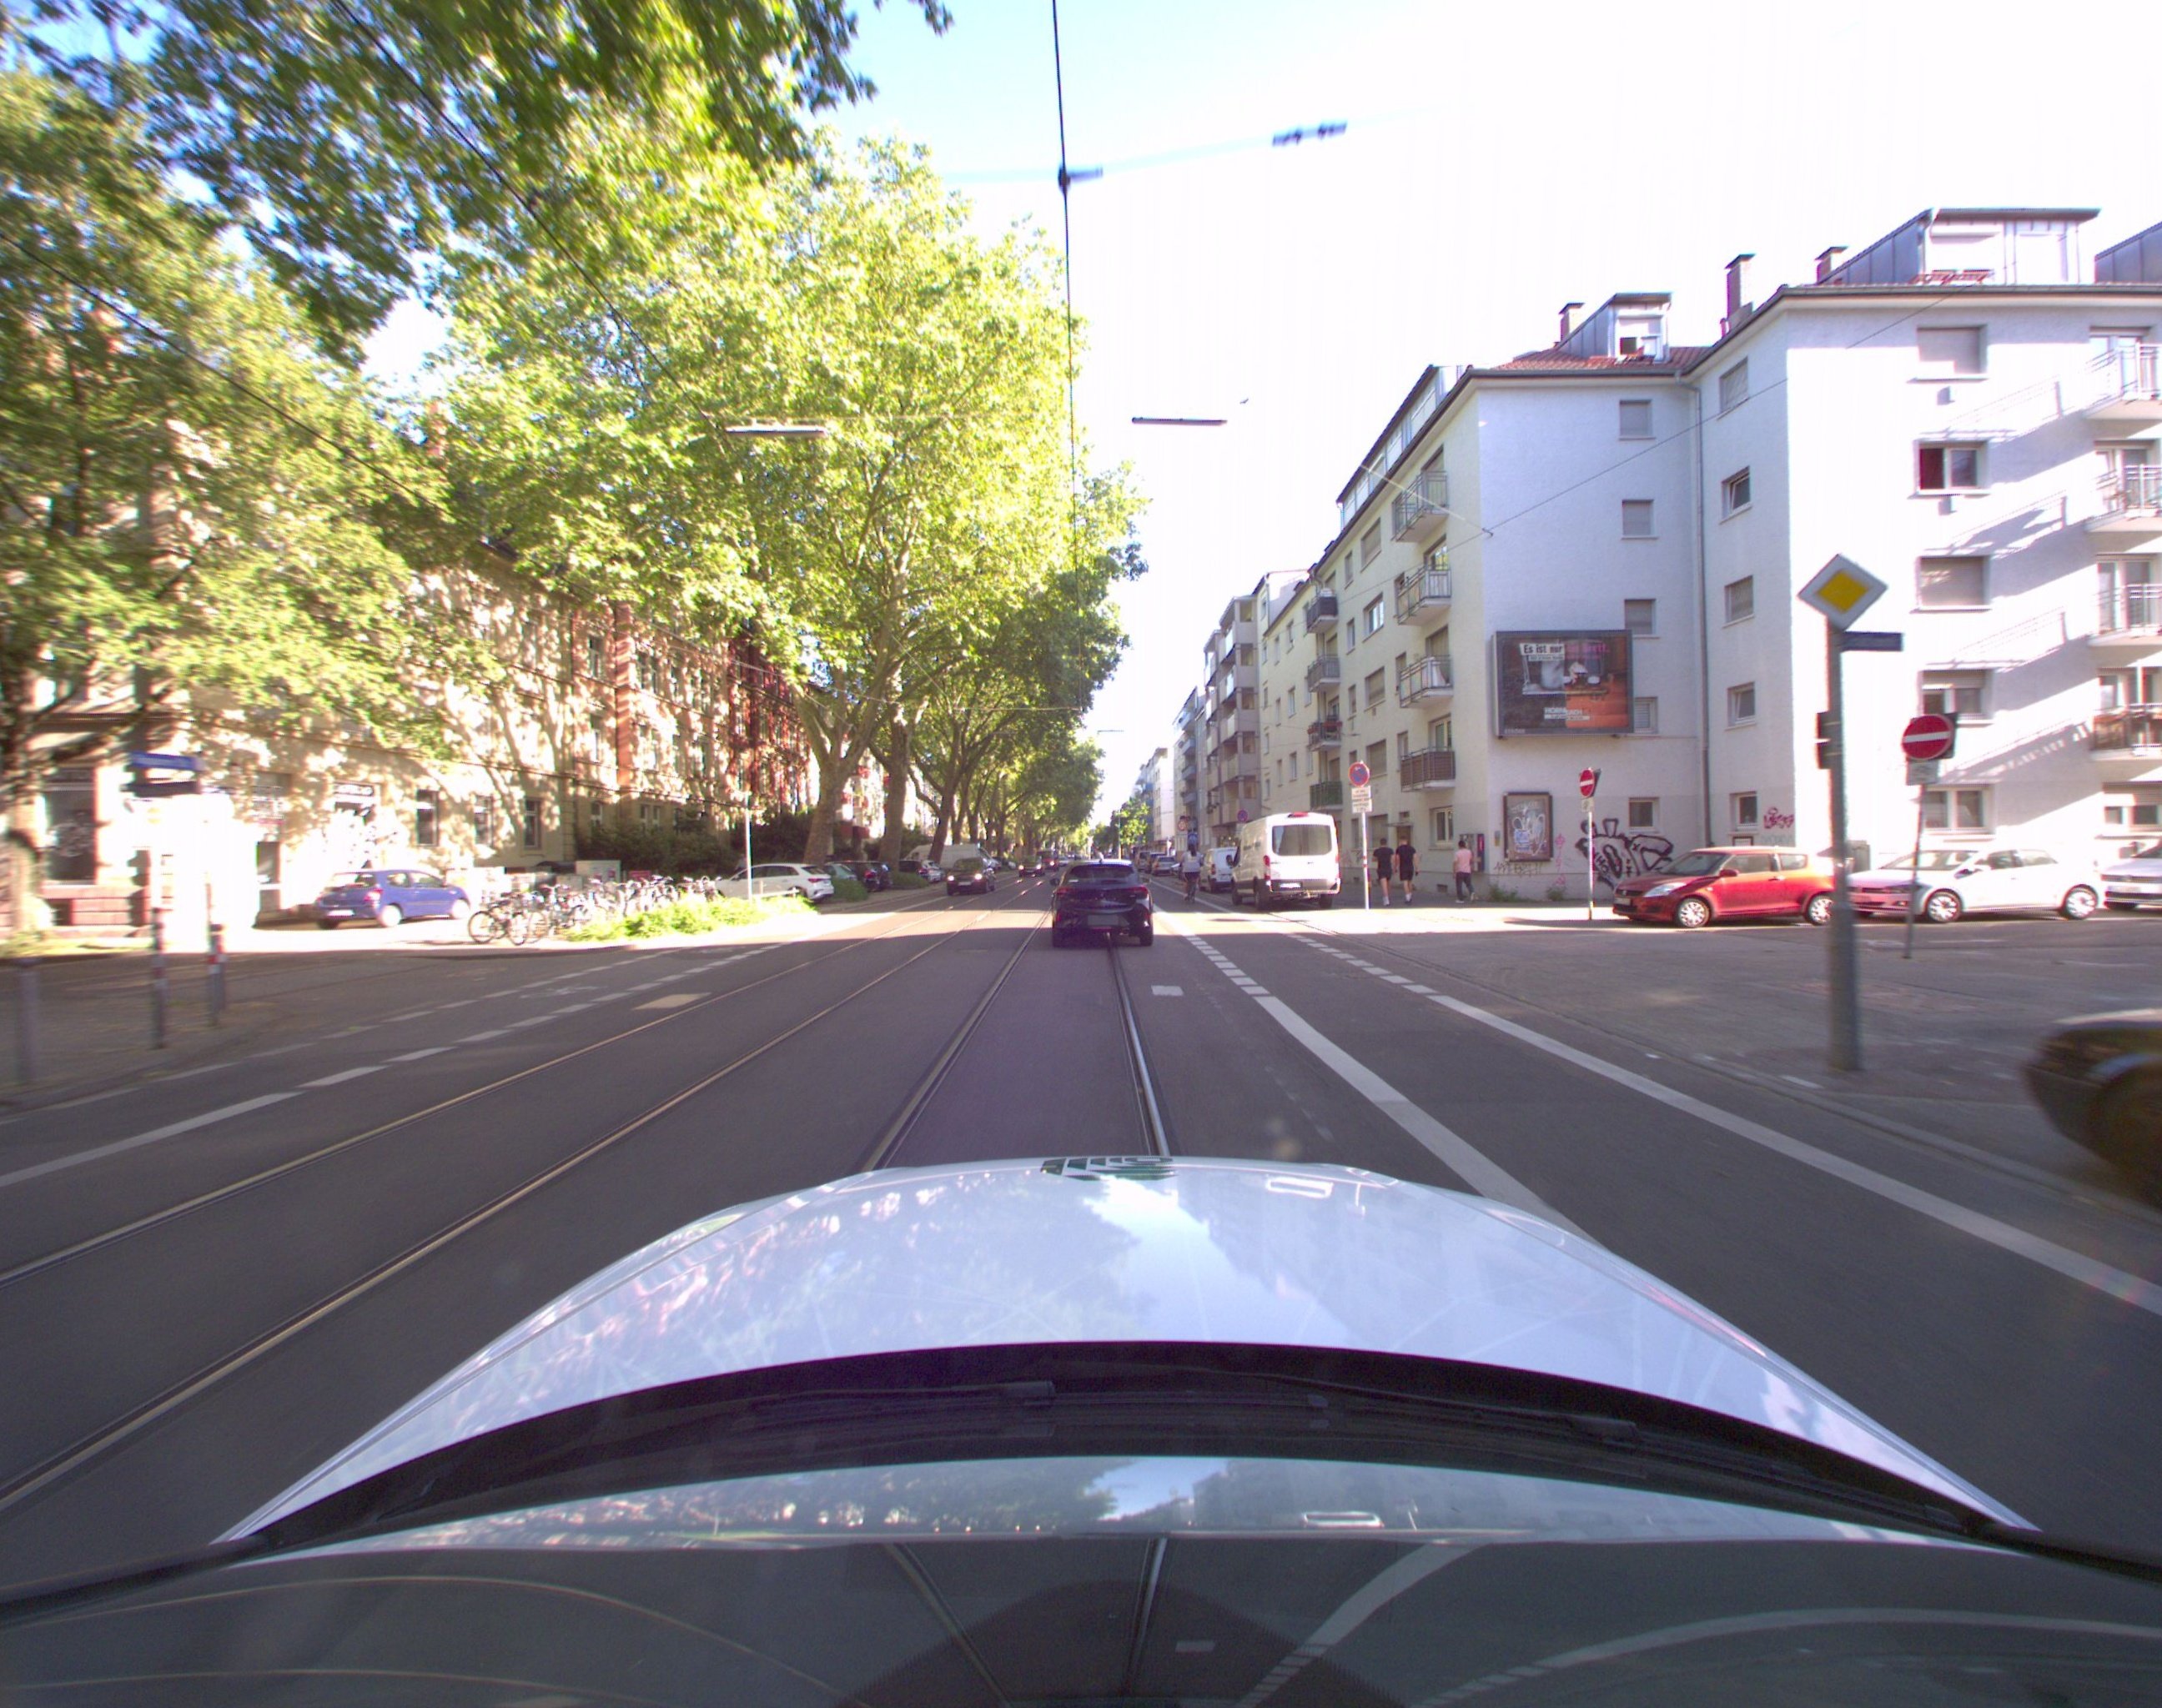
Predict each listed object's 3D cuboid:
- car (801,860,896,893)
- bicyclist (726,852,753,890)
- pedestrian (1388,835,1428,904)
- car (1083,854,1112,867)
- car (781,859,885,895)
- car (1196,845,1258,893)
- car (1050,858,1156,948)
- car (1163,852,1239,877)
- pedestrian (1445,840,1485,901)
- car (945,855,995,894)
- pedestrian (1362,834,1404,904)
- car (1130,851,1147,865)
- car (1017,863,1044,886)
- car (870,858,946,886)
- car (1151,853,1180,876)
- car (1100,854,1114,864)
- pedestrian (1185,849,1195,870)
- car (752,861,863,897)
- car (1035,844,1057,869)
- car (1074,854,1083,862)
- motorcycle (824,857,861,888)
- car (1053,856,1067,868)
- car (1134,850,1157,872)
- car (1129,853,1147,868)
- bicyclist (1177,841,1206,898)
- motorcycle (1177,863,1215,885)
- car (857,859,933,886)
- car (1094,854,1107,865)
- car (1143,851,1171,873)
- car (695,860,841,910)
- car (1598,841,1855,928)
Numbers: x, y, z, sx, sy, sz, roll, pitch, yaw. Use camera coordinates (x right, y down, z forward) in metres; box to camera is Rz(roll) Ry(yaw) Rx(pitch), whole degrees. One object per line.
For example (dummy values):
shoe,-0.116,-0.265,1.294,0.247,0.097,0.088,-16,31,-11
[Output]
car,-10.984,1.041,38.634,3.971,1.460,1.705,-1,0,2
bicyclist,-16.362,0.810,39.046,0.828,1.763,1.048,-1,0,0
pedestrian,8.910,0.410,22.230,0.622,1.823,1.082,-2,-1,2
car,2.262,0.871,113.413,3.974,1.651,1.864,-1,0,0
car,-10.898,1.009,35.976,3.971,1.460,1.771,-1,0,2
car,5.965,0.568,33.807,1.852,1.820,4.352,-1,0,1
car,0.361,0.787,14.744,1.674,1.422,3.627,0,0,0
car,7.972,0.684,54.063,4.615,1.437,1.857,-2,0,-11
pedestrian,10.231,0.443,21.725,0.629,1.581,0.933,1,-1,2
car,-4.634,0.830,34.431,1.630,1.510,3.689,-1,0,-1
pedestrian,8.242,0.405,22.244,0.707,1.823,1.082,-2,-1,2
car,6.945,0.482,98.862,1.851,1.651,4.002,-1,0,2
car,-3.645,1.460,59.295,1.713,1.510,3.721,-1,0,-1
car,-10.116,1.054,47.755,3.973,1.496,1.830,-1,0,0
car,6.057,0.719,58.793,1.718,1.525,4.515,-1,0,2
car,4.714,0.911,148.135,1.989,1.640,3.995,-1,0,-4
pedestrian,9.209,0.450,68.820,0.754,1.720,0.720,-1,0,-1
car,-11.205,1.025,33.534,3.971,1.369,1.606,-1,0,2
car,-3.261,0.225,76.631,1.912,2.227,4.957,-1,0,-1
car,-0.530,0.858,181.969,1.743,1.651,4.002,-1,0,2
motorcycle,-12.898,0.985,44.159,1.048,1.631,3.011,1,-1,0
car,-2.545,0.952,99.732,1.713,1.359,4.467,-1,0,-1
car,5.809,0.592,74.280,1.851,1.890,4.927,-1,0,2
car,6.407,0.721,91.269,1.851,1.651,4.002,-1,0,2
bicyclist,3.521,0.492,26.058,0.784,1.759,0.914,-1,-1,0
motorcycle,5.920,1.029,41.813,1.802,1.080,0.621,-2,-1,23
car,-10.297,1.008,45.135,3.780,1.460,1.704,0,0,1
car,3.072,0.791,128.597,1.851,1.651,4.002,-1,0,2
car,6.061,0.609,65.425,1.761,1.705,4.282,-1,0,0
car,-10.100,0.983,26.512,3.975,1.460,1.878,-2,-1,-1
car,12.568,0.566,16.049,3.635,1.574,1.791,-1,1,2
